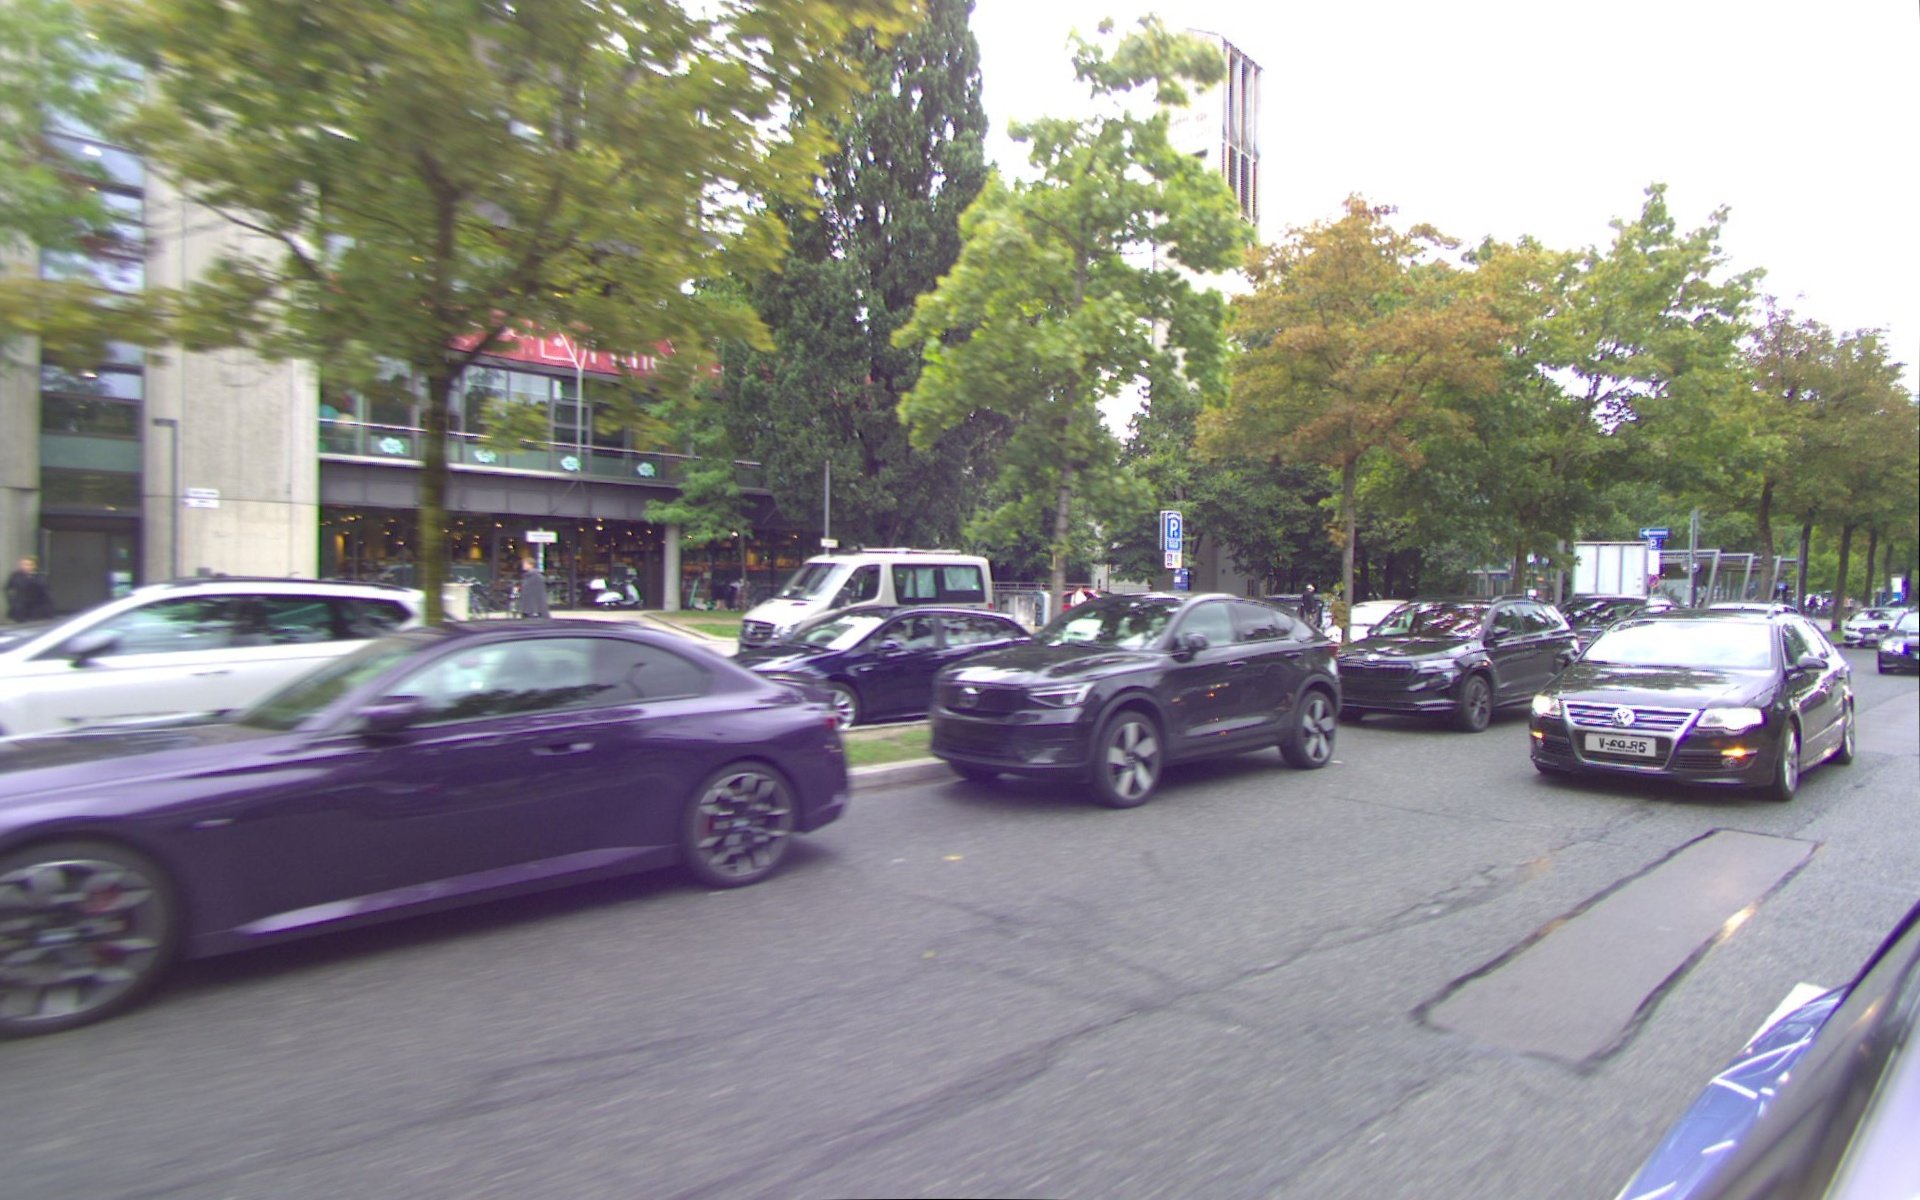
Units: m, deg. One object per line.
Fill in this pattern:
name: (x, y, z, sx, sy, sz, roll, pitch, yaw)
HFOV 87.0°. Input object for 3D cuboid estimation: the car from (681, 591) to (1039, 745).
car: (-1.059, 0.662, 11.937, 3.940, 1.497, 1.750, 0, 1, -42)

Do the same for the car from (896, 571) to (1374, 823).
car: (1.702, 0.632, 8.824, 4.346, 1.672, 1.767, 0, 0, -41)

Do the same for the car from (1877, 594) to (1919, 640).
car: (37.590, 0.640, 39.778, 4.515, 1.696, 1.790, 0, 1, -41)

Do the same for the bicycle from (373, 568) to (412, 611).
bicycle: (-16.853, -0.326, 30.026, 0.577, 1.219, 2.140, 0, 1, -42)

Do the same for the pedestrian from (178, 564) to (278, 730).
pedestrian: (-8.695, 0.519, 12.017, 0.887, 1.874, 0.876, 1, 1, -41)

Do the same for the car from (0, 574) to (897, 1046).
car: (-2.576, 0.686, 5.055, 4.346, 1.565, 1.767, 0, 0, -41)

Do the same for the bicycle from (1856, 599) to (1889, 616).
bicycle: (75.391, 0.616, 83.595, 1.936, 1.227, 0.559, 3, 2, 39)

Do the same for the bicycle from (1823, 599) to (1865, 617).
bicycle: (66.223, 0.617, 75.844, 2.338, 1.171, 0.521, 5, 3, 42)

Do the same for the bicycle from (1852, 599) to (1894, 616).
bicycle: (70.912, 0.601, 78.610, 0.574, 1.171, 2.344, 1, 3, -40)

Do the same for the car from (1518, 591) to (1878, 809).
car: (6.821, 0.681, 9.137, 4.591, 1.493, 1.750, 0, 0, -42)

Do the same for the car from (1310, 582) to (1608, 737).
car: (6.498, 0.633, 12.988, 4.308, 1.672, 1.726, 0, 1, -38)

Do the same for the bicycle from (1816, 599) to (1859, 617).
bicycle: (65.390, 0.615, 75.443, 0.520, 1.171, 2.344, 1, 3, -40)

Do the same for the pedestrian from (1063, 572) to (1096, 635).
pedestrian: (3.421, 0.102, 28.869, 0.718, 1.773, 0.577, 0, 0, -36)

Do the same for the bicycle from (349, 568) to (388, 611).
bicycle: (-17.306, -0.327, 29.584, 0.577, 1.219, 2.140, 0, 1, -42)

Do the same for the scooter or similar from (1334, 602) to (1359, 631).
scooter or similar: (14.219, 0.610, 37.202, 0.818, 1.031, 0.501, 0, 2, -41)

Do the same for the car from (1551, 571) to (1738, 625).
car: (22.003, -0.062, 32.653, 4.752, 1.645, 1.974, 0, 0, -2)

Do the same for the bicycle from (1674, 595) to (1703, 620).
bicycle: (39.044, 0.393, 54.217, 2.505, 1.296, 0.646, 0, 1, -41)

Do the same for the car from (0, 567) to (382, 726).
car: (-9.537, 0.481, 12.469, 3.938, 1.684, 1.751, 0, 1, -41)

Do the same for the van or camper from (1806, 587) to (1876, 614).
van or camper: (77.344, 0.035, 88.805, 6.069, 2.325, 2.153, 0, 1, -23)

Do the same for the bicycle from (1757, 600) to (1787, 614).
bicycle: (73.447, 0.631, 91.551, 2.088, 1.168, 0.718, 1, 0, 0)

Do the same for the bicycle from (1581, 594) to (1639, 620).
bicycle: (34.540, 0.362, 53.801, 0.636, 1.296, 2.547, 0, 1, -40)

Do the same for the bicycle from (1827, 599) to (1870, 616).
bicycle: (68.391, 0.549, 77.917, 0.520, 1.171, 2.344, 1, 3, -40)

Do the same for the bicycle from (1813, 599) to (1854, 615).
bicycle: (69.663, 0.543, 80.715, 0.574, 1.171, 2.344, 1, 3, -40)

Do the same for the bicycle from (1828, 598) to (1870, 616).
bicycle: (68.058, 0.536, 77.472, 0.520, 1.171, 2.344, 1, 3, -40)

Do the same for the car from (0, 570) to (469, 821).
car: (-6.083, 0.595, 7.671, 3.941, 1.605, 1.686, 0, 1, -43)

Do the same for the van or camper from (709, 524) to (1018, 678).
van or camper: (-1.702, 0.000, 19.623, 5.851, 2.590, 1.998, 0, 1, -40)

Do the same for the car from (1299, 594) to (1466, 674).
car: (8.857, 0.647, 21.083, 3.933, 1.507, 1.765, 0, -1, -43)

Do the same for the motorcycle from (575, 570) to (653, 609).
motorcycle: (-11.633, -0.362, 34.120, 0.869, 1.244, 2.342, 3, 2, 42)

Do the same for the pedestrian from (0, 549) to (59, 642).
pedestrian: (-15.261, -0.082, 16.591, 0.664, 1.495, 0.398, 1, 0, -33)

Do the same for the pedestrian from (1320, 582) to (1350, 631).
pedestrian: (13.562, 0.230, 36.601, 0.970, 1.742, 0.540, 0, 2, -40)

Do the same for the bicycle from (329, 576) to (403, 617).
bicycle: (-14.878, -0.096, 25.416, 0.732, 0.970, 2.049, 1, 1, -3)

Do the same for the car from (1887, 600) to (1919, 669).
car: (22.134, 0.726, 22.398, 4.589, 1.447, 1.818, 0, -1, -40)

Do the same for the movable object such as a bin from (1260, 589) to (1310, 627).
movable object such as a bin: (12.472, 0.297, 38.852, 1.292, 1.427, 1.338, 0, 1, -42)

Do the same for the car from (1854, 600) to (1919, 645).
car: (33.173, 0.753, 35.896, 4.405, 1.452, 1.656, 0, 1, -41)

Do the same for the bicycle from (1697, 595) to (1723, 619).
bicycle: (42.947, 0.397, 57.963, 2.505, 1.296, 0.646, 0, 1, -41)

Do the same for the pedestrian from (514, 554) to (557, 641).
pedestrian: (-8.827, -0.055, 21.061, 0.718, 1.773, 0.577, 0, 0, -34)

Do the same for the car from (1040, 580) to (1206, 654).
car: (4.088, 0.383, 25.154, 3.929, 1.671, 1.998, 0, 1, -40)

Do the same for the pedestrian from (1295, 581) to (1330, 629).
pedestrian: (13.158, 0.172, 37.781, 0.923, 1.742, 0.830, 0, 2, -40)

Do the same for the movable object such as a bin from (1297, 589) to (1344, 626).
movable object such as a bin: (14.459, 0.300, 40.608, 1.292, 1.427, 1.338, 0, 1, -42)

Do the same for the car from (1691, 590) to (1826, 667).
car: (18.759, 0.605, 23.705, 4.376, 1.609, 1.764, 0, 1, -42)

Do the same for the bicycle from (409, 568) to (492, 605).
bicycle: (-12.851, -0.336, 25.617, 0.757, 0.881, 2.401, 1, 1, 4)

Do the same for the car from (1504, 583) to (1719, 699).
car: (11.234, 0.608, 17.307, 4.734, 1.722, 1.765, 0, 1, -40)

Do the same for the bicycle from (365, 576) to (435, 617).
bicycle: (-14.073, -0.095, 25.507, 0.732, 0.970, 2.049, 1, 1, -3)

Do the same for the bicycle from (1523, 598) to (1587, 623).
bicycle: (28.143, 0.471, 47.915, 0.636, 1.102, 2.547, 0, 1, -40)

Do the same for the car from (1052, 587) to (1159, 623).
car: (4.953, 0.153, 34.648, 1.535, 1.166, 3.443, 0, 0, -43)

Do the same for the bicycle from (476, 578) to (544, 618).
bicycle: (-11.505, -0.055, 25.933, 0.733, 0.970, 2.046, 1, 1, 4)

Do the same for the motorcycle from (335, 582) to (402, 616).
motorcycle: (-15.972, -0.032, 27.340, 1.537, 0.876, 0.855, 0, 1, -33)

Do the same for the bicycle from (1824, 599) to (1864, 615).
bicycle: (70.491, 0.562, 80.716, 0.574, 1.171, 2.344, 1, 3, -40)

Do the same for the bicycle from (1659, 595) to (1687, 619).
bicycle: (38.606, 0.378, 54.791, 2.505, 1.296, 0.646, 0, 1, -41)

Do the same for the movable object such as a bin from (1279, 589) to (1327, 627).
movable object such as a bin: (13.464, 0.298, 39.734, 1.292, 1.427, 1.338, 0, 1, -42)

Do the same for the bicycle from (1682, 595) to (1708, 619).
bicycle: (42.446, 0.396, 58.417, 2.505, 1.296, 0.646, 0, 1, -41)
